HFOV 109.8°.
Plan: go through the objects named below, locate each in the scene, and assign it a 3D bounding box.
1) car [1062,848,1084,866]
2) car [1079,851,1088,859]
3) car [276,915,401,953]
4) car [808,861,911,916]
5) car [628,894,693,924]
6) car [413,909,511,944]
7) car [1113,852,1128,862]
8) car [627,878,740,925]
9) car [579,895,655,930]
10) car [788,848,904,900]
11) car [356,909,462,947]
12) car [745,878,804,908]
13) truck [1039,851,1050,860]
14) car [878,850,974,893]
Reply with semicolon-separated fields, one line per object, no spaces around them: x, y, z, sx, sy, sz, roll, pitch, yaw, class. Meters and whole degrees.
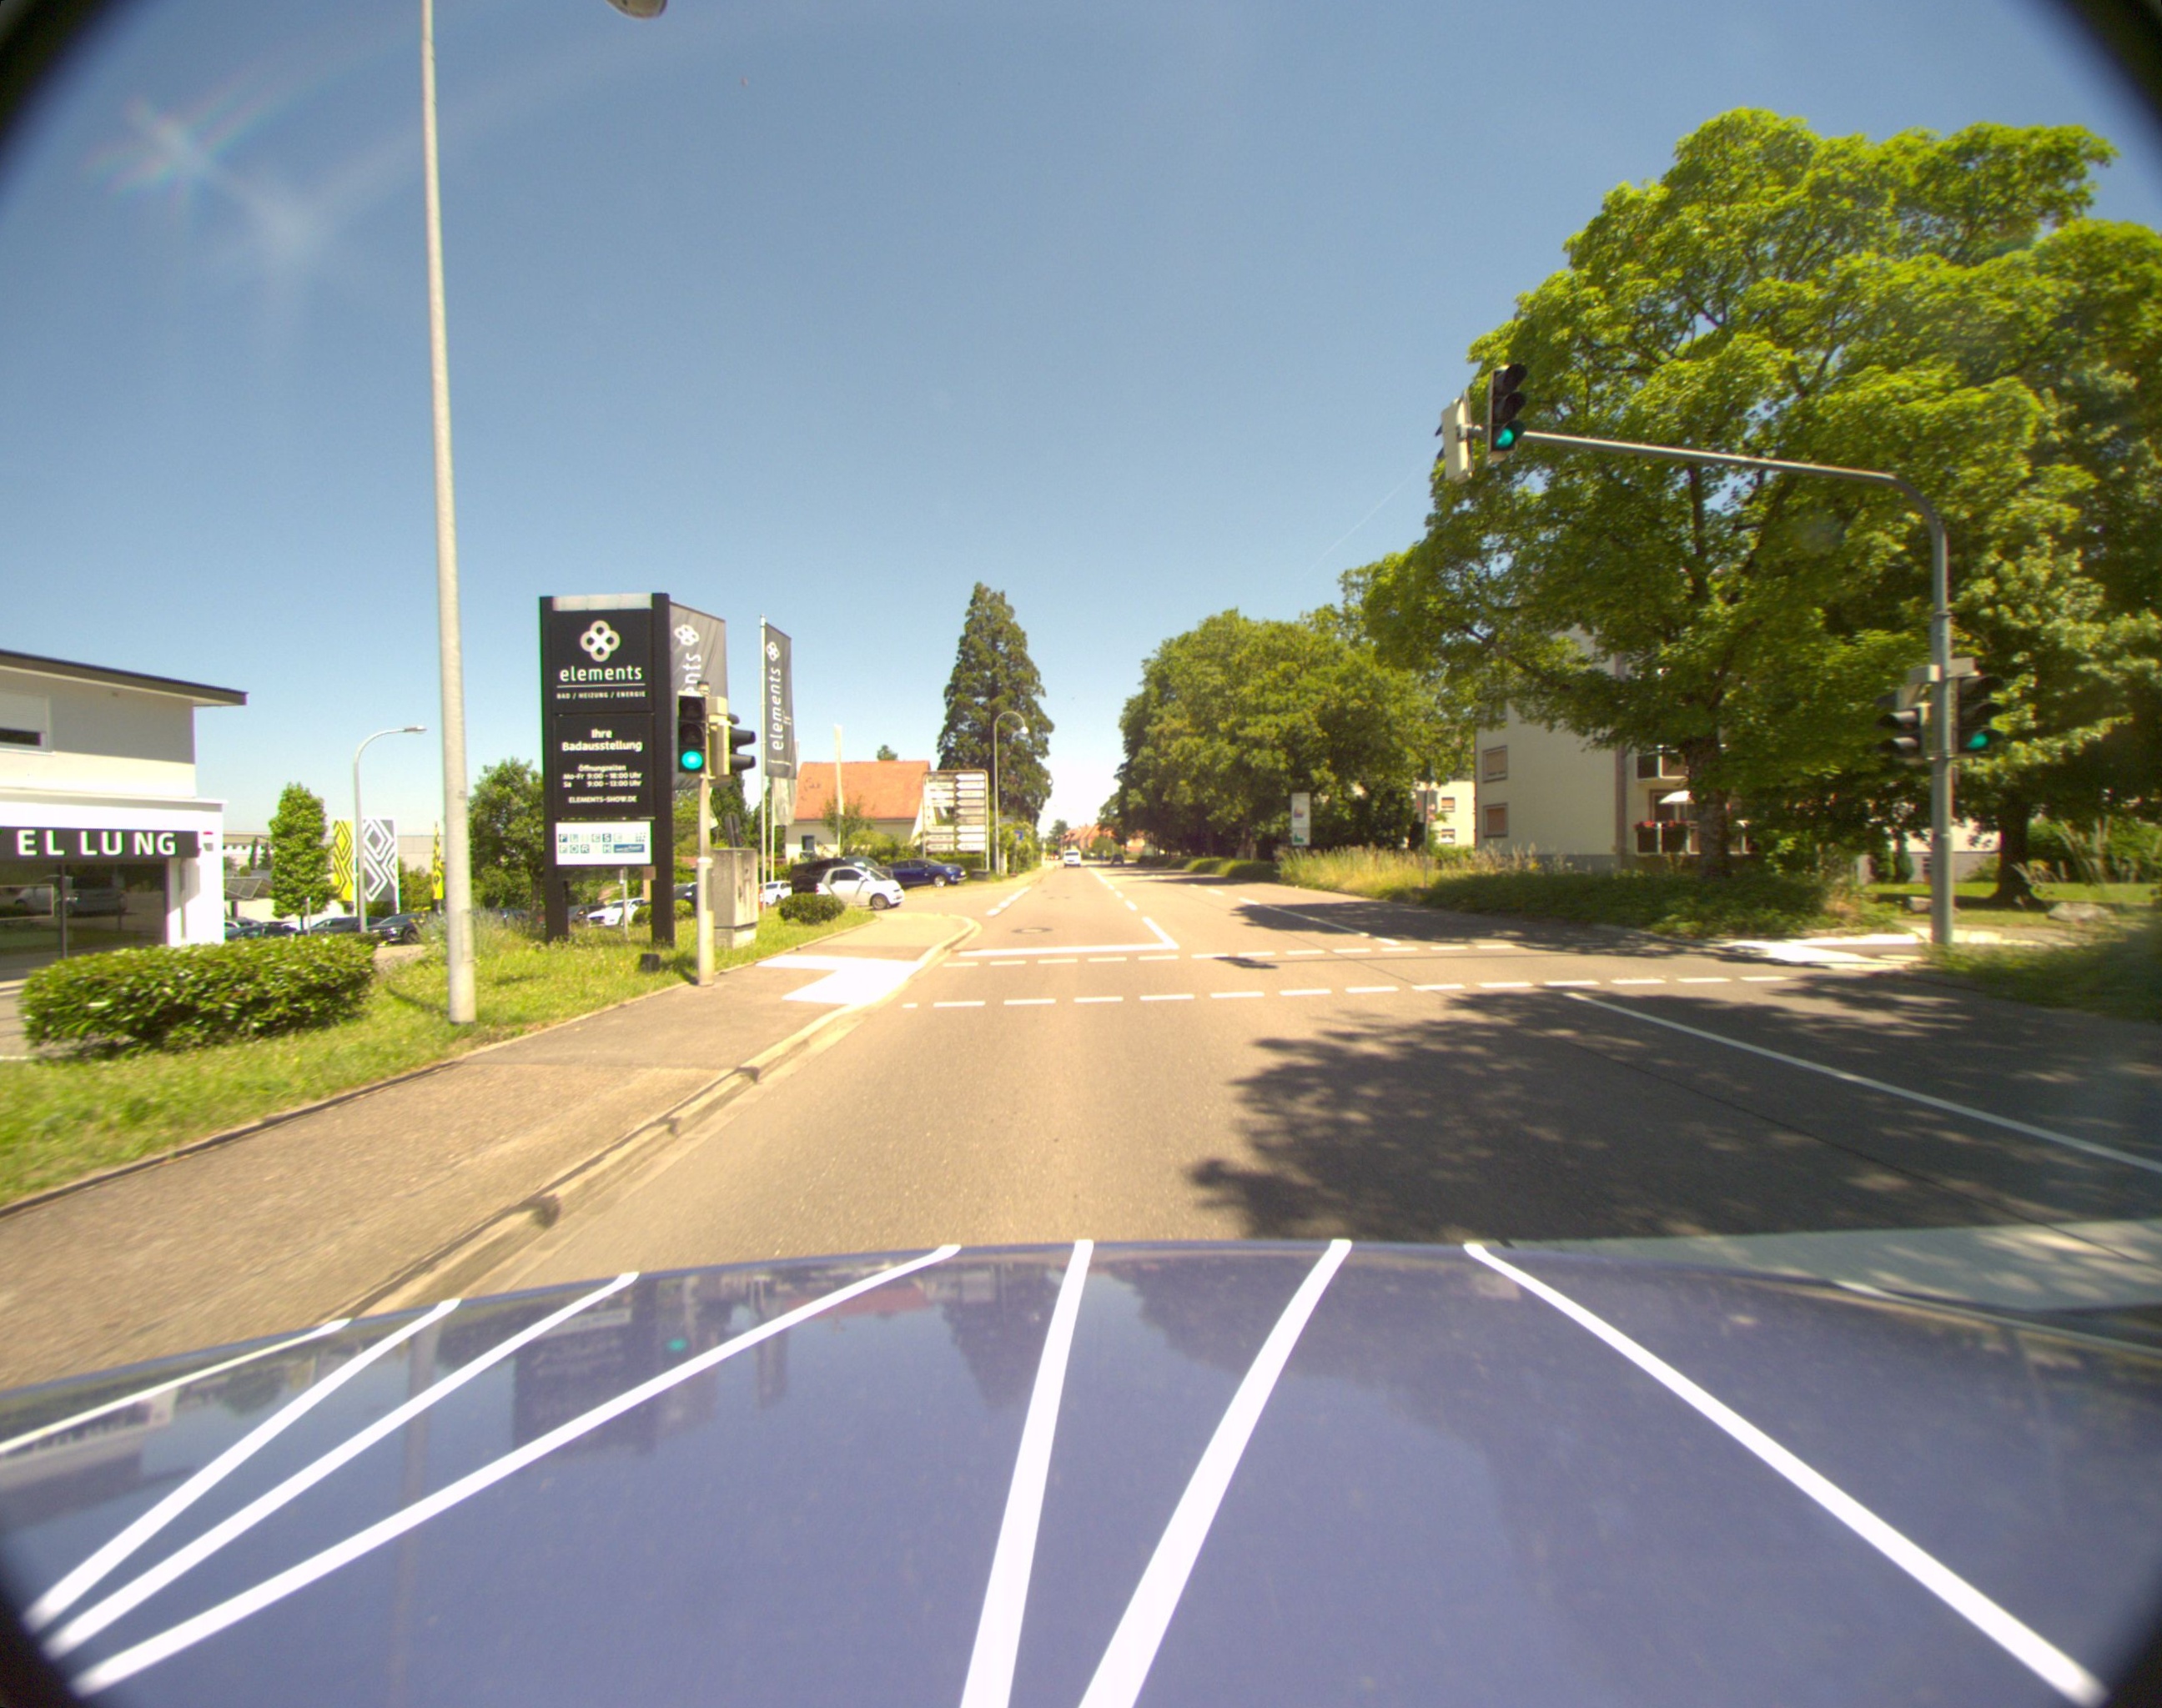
-0.949;0.410;88.218;2.000;2.001;4.384;-2;0;-6;car
0.612;0.219;195.016;1.999;1.899;4.988;-2;2;-3;car
-34.584;3.686;35.573;1.872;1.525;4.411;-4;-4;-7;car
-7.389;1.140;25.511;2.773;1.511;1.596;-4;2;5;car
-23.846;3.092;43.178;1.739;1.434;3.433;-4;-1;-1;car
-28.153;3.251;34.723;1.716;1.364;3.999;-3;-3;-10;car
5.800;0.475;112.252;1.726;1.419;4.146;-2;0;-2;car
-17.728;2.088;34.153;1.826;1.648;4.372;-4;1;17;car
-26.430;3.288;43.451;1.874;1.693;4.000;-2;0;0;car
-10.894;0.945;35.053;5.265;1.888;2.001;-6;-1;31;car
-30.780;3.363;34.954;1.752;1.525;4.088;-3;-4;-10;car
-16.826;2.178;41.913;1.829;1.482;4.145;-4;-3;-5;car
-10.894;0.458;224.639;2.020;2.295;6.170;-4;0;-12;truck
-7.558;0.852;37.213;4.075;1.505;1.857;-7;1;12;car
